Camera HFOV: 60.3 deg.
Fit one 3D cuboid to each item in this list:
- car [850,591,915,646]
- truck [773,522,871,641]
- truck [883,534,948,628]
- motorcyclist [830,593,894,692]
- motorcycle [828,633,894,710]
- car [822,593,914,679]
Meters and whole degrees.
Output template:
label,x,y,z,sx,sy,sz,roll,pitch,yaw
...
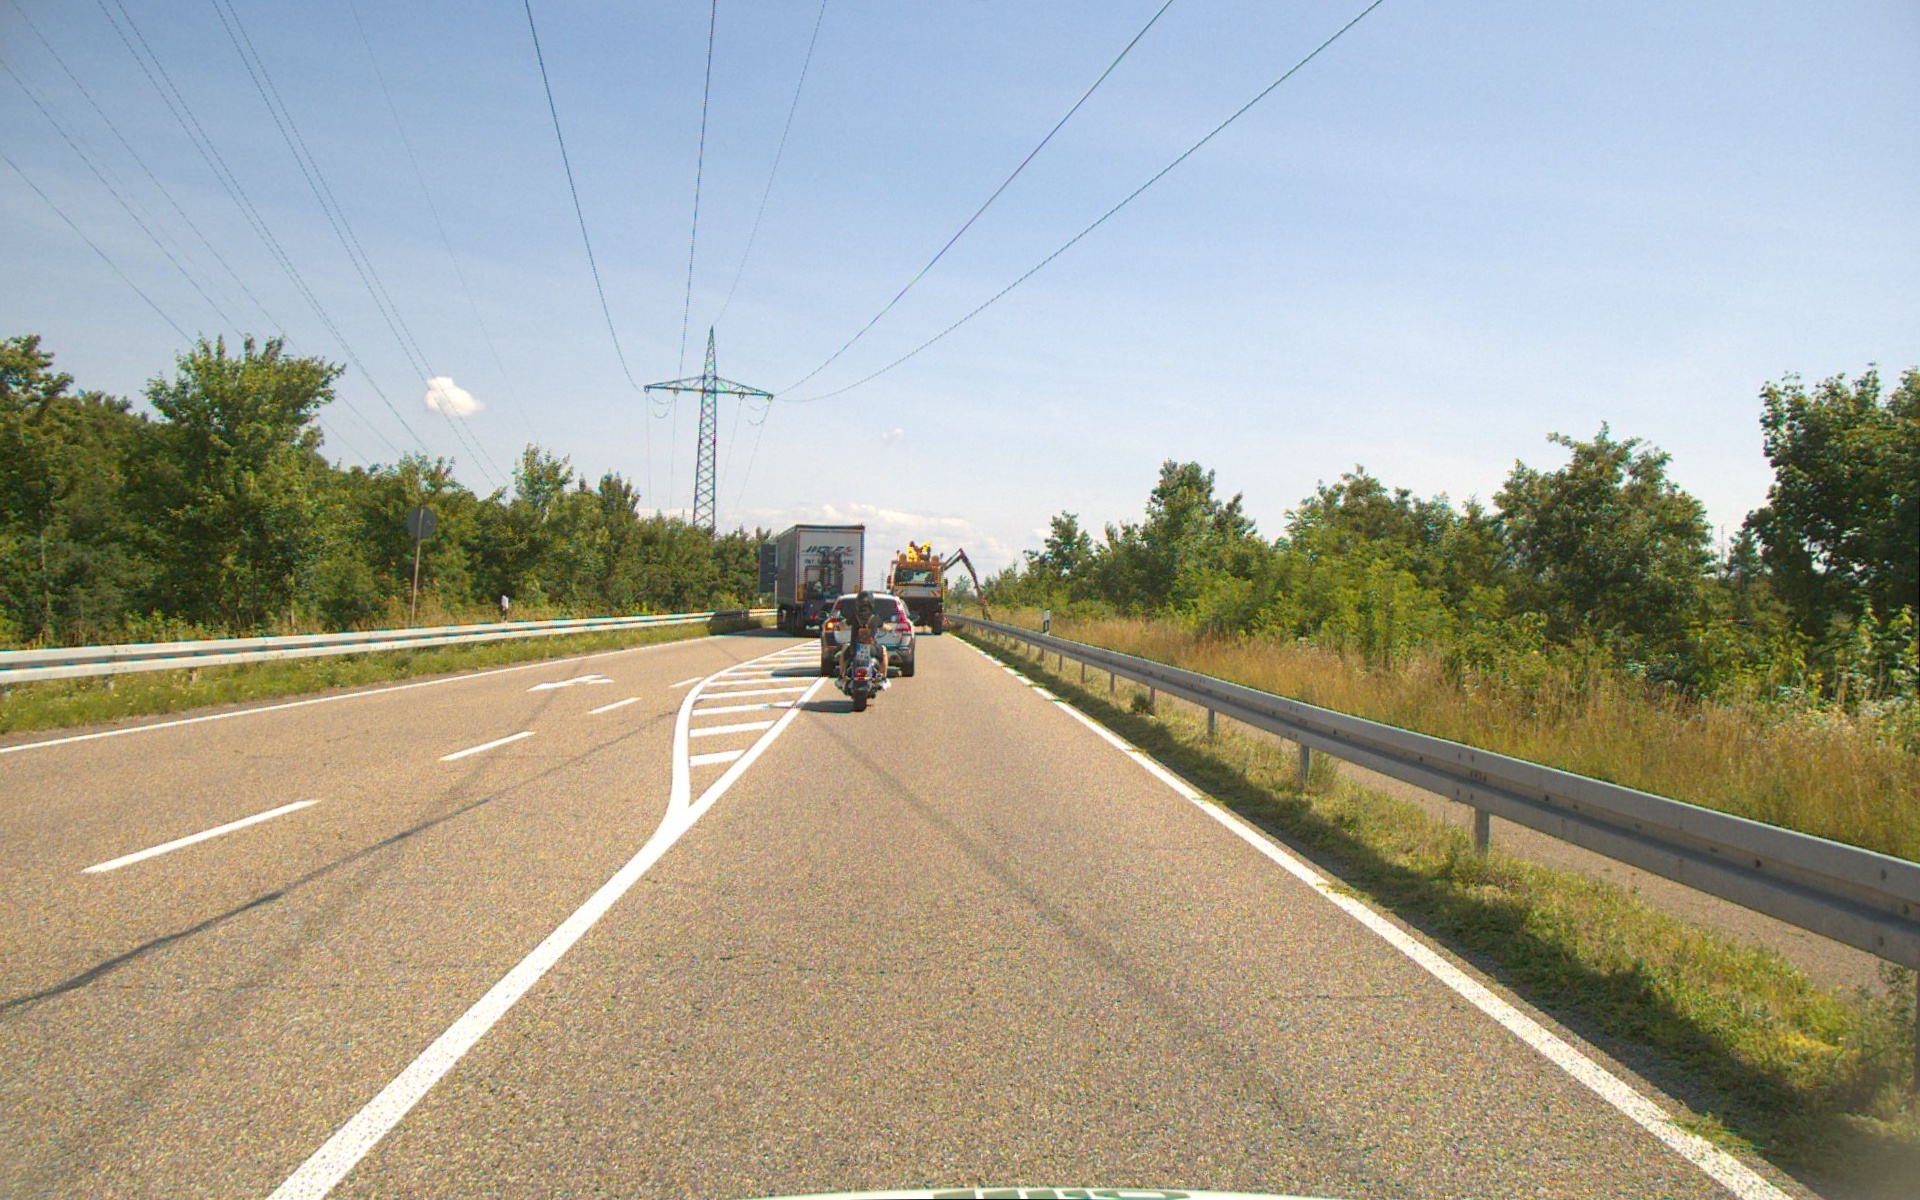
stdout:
label,x,y,z,sx,sy,sz,roll,pitch,yaw
car,-2.308,0.515,49.057,1.818,1.516,3.738,1,0,-3
truck,-5.868,-0.697,67.683,2.913,4.260,14.792,1,0,-9
truck,-1.965,-0.774,70.729,2.561,3.776,6.773,1,0,-3
motorcyclist,-1.337,0.565,22.500,0.820,1.303,0.918,1,0,-4
motorcycle,-1.353,0.953,22.549,0.842,0.931,2.226,1,0,-4
car,-1.834,0.662,32.240,1.668,1.563,3.496,1,0,-5
